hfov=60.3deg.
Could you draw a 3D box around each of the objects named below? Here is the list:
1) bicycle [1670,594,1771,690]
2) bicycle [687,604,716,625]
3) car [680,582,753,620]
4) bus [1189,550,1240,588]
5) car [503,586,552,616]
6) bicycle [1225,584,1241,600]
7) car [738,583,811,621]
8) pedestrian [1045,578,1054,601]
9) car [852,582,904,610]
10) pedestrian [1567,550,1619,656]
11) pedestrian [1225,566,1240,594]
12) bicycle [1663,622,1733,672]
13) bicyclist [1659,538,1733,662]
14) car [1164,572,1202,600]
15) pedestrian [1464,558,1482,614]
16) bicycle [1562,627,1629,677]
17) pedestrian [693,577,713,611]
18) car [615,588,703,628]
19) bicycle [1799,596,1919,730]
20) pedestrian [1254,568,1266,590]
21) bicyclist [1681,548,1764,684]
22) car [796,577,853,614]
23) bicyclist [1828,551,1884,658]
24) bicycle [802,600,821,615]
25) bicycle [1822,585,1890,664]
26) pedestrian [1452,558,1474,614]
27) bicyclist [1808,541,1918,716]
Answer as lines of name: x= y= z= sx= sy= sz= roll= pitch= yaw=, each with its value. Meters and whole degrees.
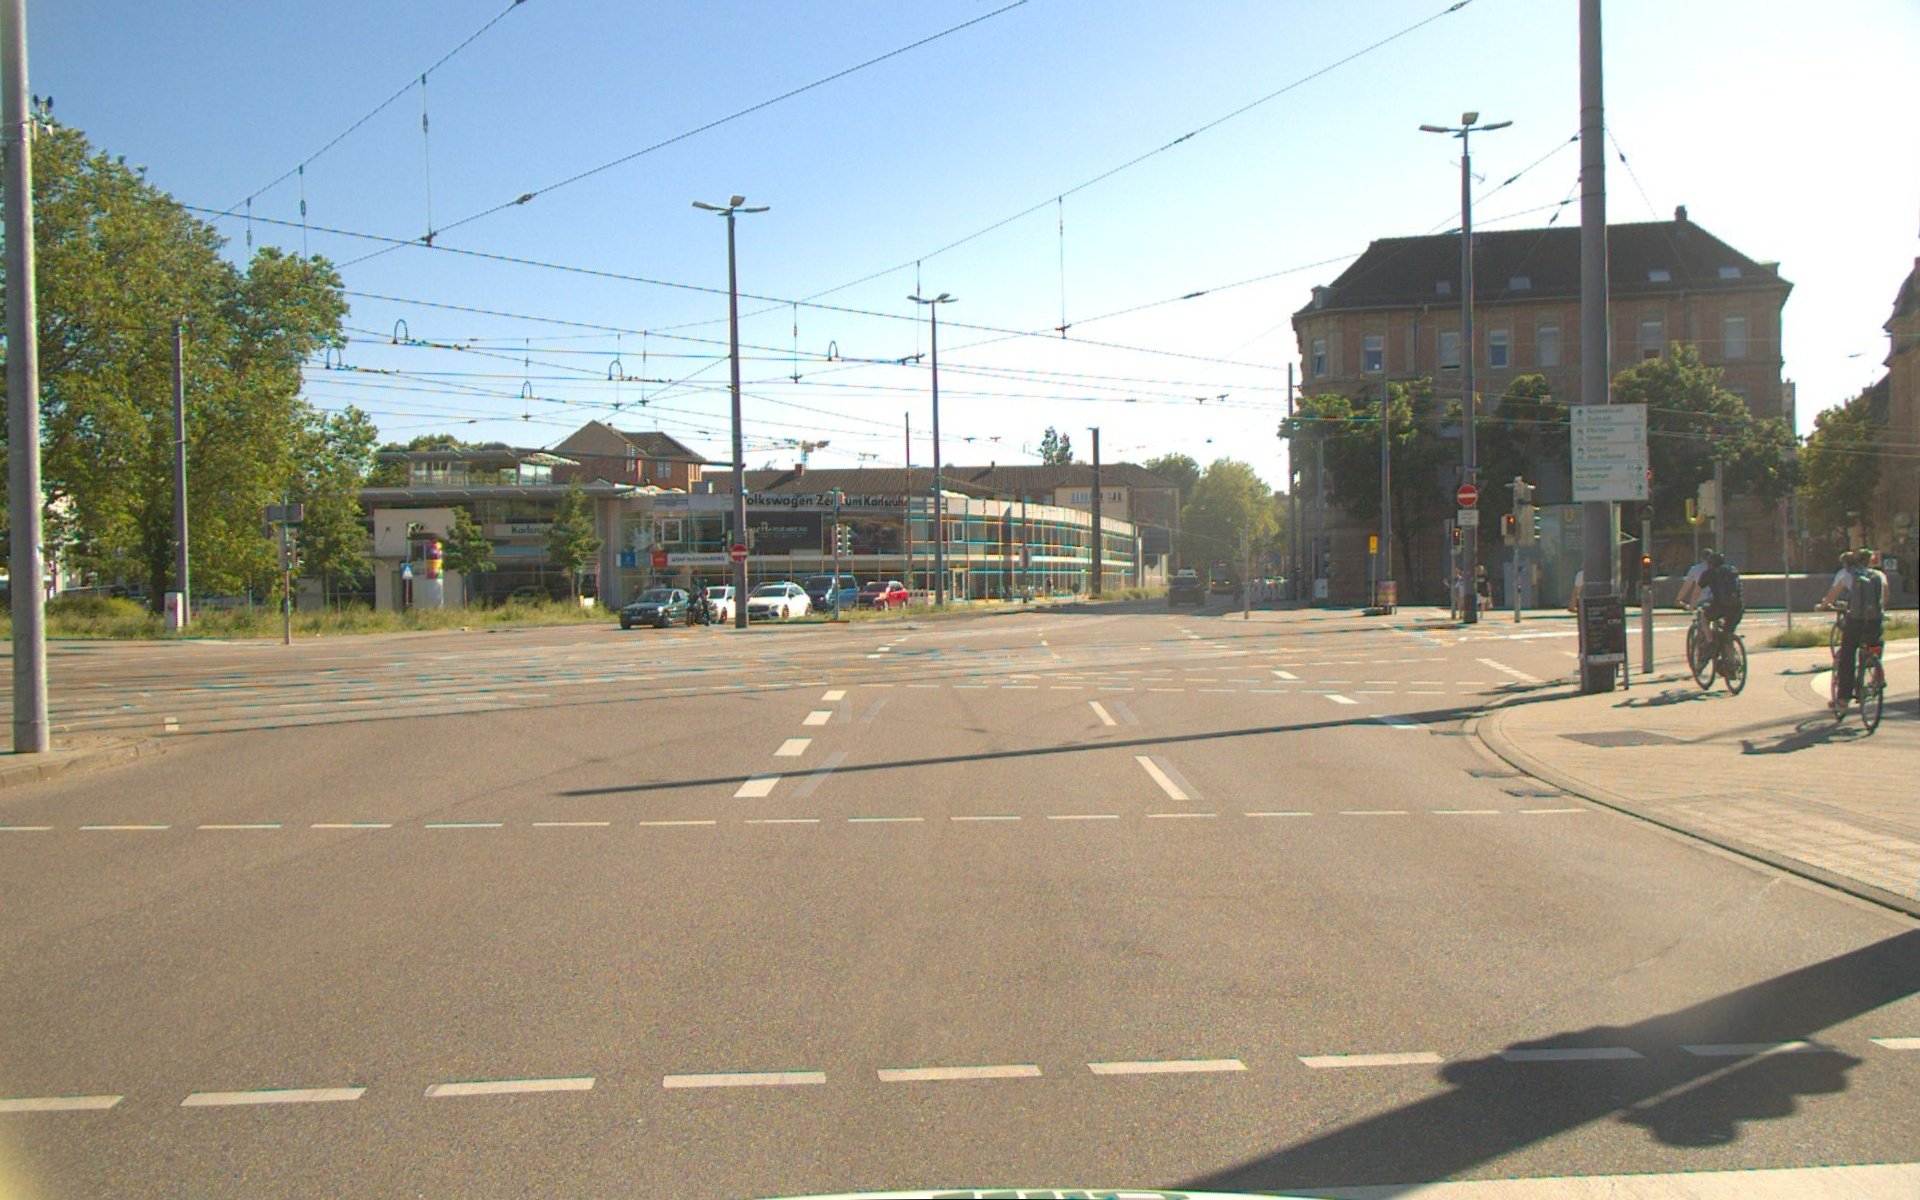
bicycle: x=9.775 y=0.518 z=21.327 sx=0.612 sy=1.133 sz=1.852 roll=-3 pitch=0 yaw=8
bicycle: x=-9.400 y=0.523 z=60.188 sx=0.413 sy=0.730 sz=1.636 roll=-1 pitch=1 yaw=16
car: x=-9.788 y=0.033 z=66.675 sx=1.591 sy=1.448 sz=3.689 roll=-1 pitch=1 yaw=14
bus: x=27.782 y=-3.209 z=179.243 sx=3.755 sy=3.670 sz=24.887 roll=1 pitch=0 yaw=13
car: x=-25.976 y=0.035 z=99.476 sx=1.926 sy=1.735 sz=4.083 roll=-1 pitch=1 yaw=-1
bicycle: x=16.207 y=-0.473 z=98.188 sx=0.727 sy=0.885 sz=1.933 roll=-1 pitch=0 yaw=14
car: x=-7.236 y=0.070 z=64.832 sx=1.591 sy=1.406 sz=3.741 roll=-1 pitch=1 yaw=14
pedestrian: x=6.739 y=-0.820 z=124.694 sx=0.531 sy=1.718 sz=0.630 roll=-1 pitch=0 yaw=17
car: x=-4.246 y=-0.208 z=86.021 sx=1.591 sy=1.388 sz=3.688 roll=-1 pitch=1 yaw=16
pedestrian: x=9.680 y=0.048 z=25.309 sx=0.536 sy=1.590 sz=0.859 roll=-1 pitch=0 yaw=6
pedestrian: x=16.255 y=-1.185 z=98.581 sx=0.785 sy=1.660 sz=0.718 roll=-1 pitch=0 yaw=15
bicycle: x=11.112 y=0.699 z=24.949 sx=0.525 sy=0.667 sz=1.469 roll=-2 pitch=1 yaw=6
bicyclist: x=11.085 y=-0.010 z=24.934 sx=0.731 sy=1.809 sz=0.925 roll=-2 pitch=0 yaw=6
car: x=12.380 y=-0.780 z=91.566 sx=1.663 sy=1.529 sz=4.268 roll=-1 pitch=1 yaw=14
pedestrian: x=18.901 y=-0.513 z=60.928 sx=0.453 sy=2.049 sz=0.449 roll=-1 pitch=1 yaw=-18
bicycle: x=9.708 y=0.783 z=25.319 sx=0.525 sy=0.667 sz=1.727 roll=-4 pitch=0 yaw=7
pedestrian: x=-9.367 y=-0.219 z=60.340 sx=0.413 sy=1.225 sz=0.750 roll=-1 pitch=0 yaw=16
car: x=-11.012 y=0.268 z=60.701 sx=1.667 sy=1.378 sz=3.703 roll=-1 pitch=1 yaw=16
bicycle: x=8.804 y=0.582 z=16.163 sx=0.670 sy=1.184 sz=1.885 roll=-3 pitch=0 yaw=16
pedestrian: x=21.325 y=-1.504 z=117.554 sx=0.730 sy=1.549 sz=0.719 roll=-1 pitch=0 yaw=14
bicyclist: x=9.729 y=0.195 z=21.122 sx=0.612 sy=1.666 sz=0.996 roll=-3 pitch=0 yaw=8
car: x=-6.424 y=-0.244 z=78.861 sx=1.591 sy=1.722 sz=3.689 roll=-1 pitch=1 yaw=14
bicyclist: x=13.651 y=0.059 z=25.218 sx=0.559 sy=1.596 sz=0.947 roll=-1 pitch=0 yaw=17
bicycle: x=-7.621 y=0.404 z=85.088 sx=0.414 sy=0.730 sz=1.476 roll=-1 pitch=1 yaw=18
bicycle: x=13.675 y=0.354 z=25.284 sx=0.559 sy=1.145 sz=1.741 roll=-1 pitch=0 yaw=17
pedestrian: x=18.353 y=-0.518 z=60.337 sx=0.564 sy=2.049 sz=0.449 roll=-1 pitch=1 yaw=-19
bicyclist: x=8.783 y=0.270 z=16.121 sx=0.670 sy=1.626 sz=0.978 roll=-3 pitch=0 yaw=16
